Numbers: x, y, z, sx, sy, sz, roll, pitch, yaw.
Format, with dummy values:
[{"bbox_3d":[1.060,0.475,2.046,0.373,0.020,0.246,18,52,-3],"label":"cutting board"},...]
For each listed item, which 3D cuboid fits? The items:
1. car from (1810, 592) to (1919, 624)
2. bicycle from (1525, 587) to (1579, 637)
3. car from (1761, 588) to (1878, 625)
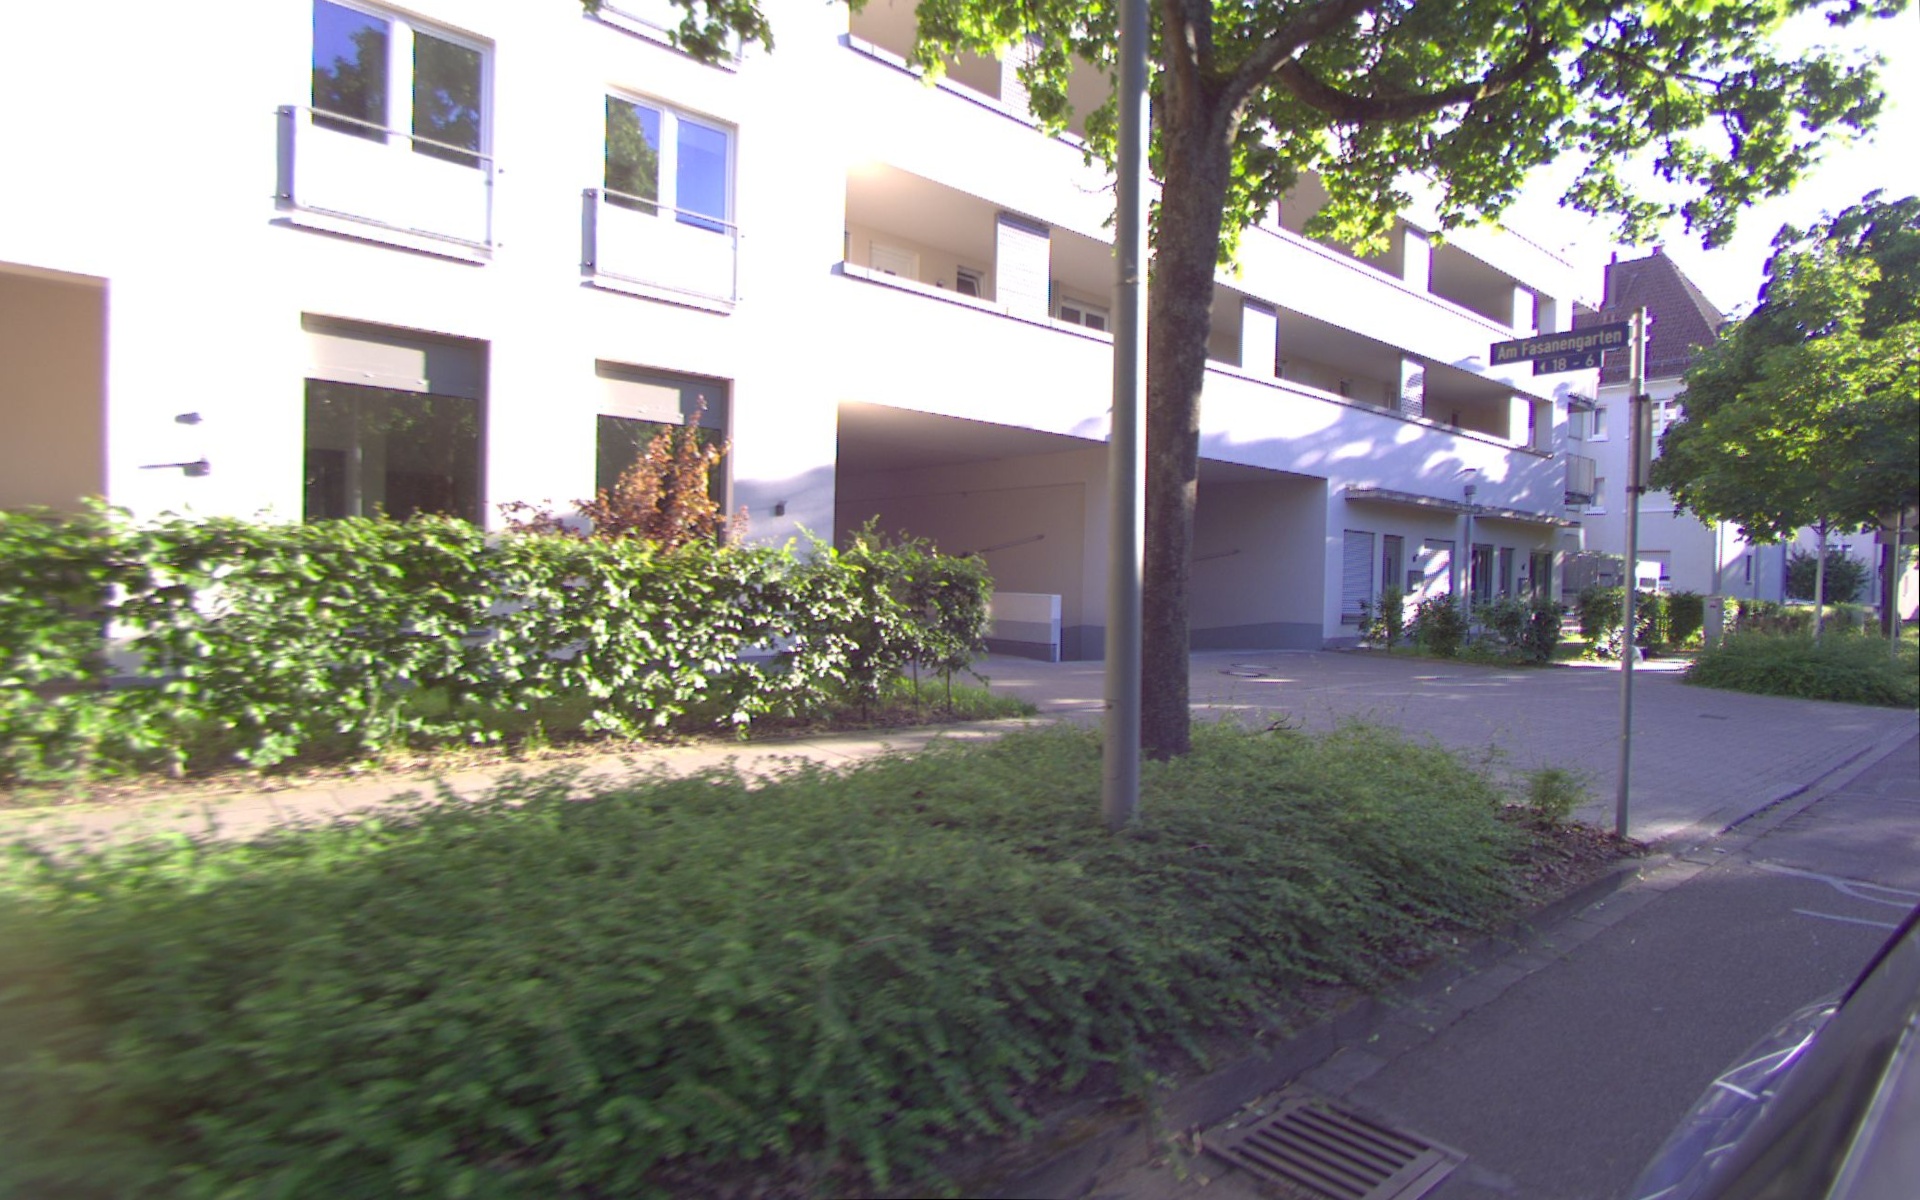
[{"bbox_3d":[46.953,0.406,52.574,1.696,1.533,4.050,-1,2,-39],"label":"car"},{"bbox_3d":[14.742,0.291,25.182,1.722,1.206,0.619,0,0,-41],"label":"bicycle"},{"bbox_3d":[41.120,0.289,48.469,1.777,1.601,3.995,2,1,-40],"label":"car"}]
